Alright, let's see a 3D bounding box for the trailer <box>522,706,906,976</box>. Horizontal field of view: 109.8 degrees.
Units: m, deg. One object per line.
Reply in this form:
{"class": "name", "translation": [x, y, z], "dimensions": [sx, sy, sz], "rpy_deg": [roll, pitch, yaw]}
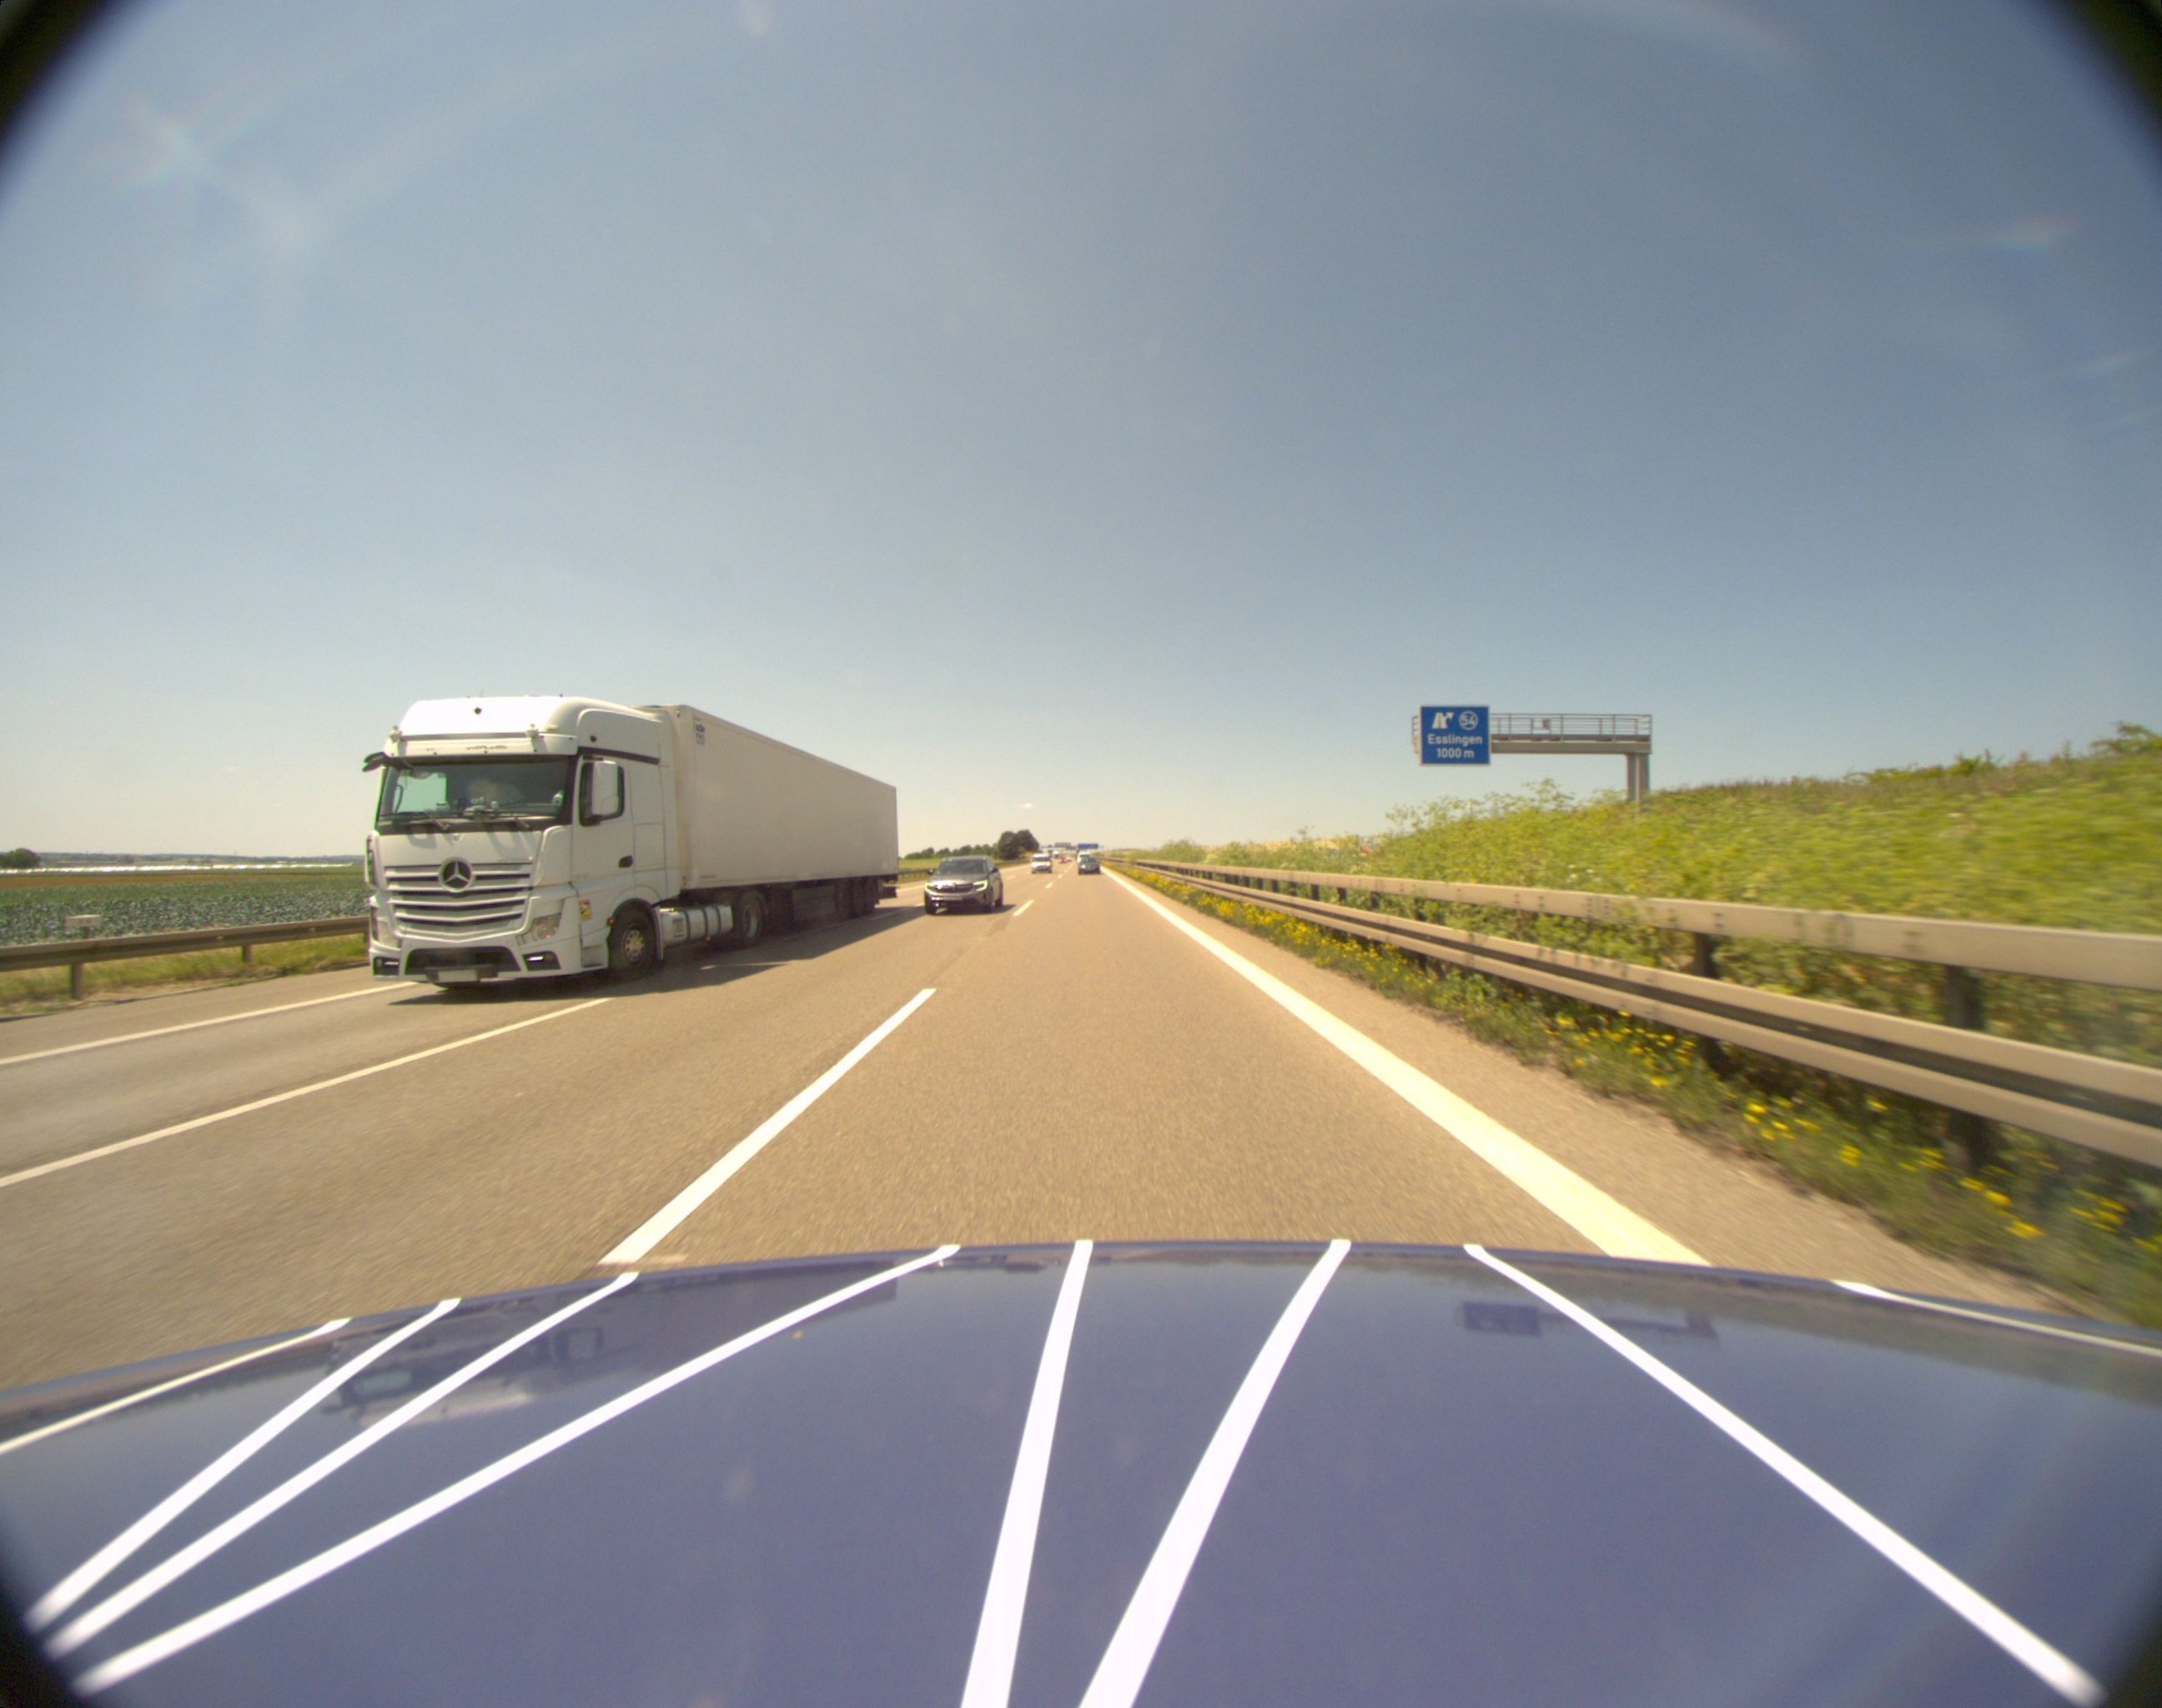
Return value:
{"class": "trailer", "translation": [-7.360, -0.243, 18.752], "dimensions": [2.875, 4.195, 13.293], "rpy_deg": [-2, 0, 0]}

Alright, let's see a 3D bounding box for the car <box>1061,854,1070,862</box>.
{"class": "car", "translation": [-3.159, 0.824, 156.309], "dimensions": [1.723, 1.514, 3.581], "rpy_deg": [-2, 0, 1]}

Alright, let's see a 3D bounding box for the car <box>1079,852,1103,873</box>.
{"class": "car", "translation": [0.794, 0.702, 62.439], "dimensions": [1.715, 1.586, 4.546], "rpy_deg": [-3, 0, -2]}

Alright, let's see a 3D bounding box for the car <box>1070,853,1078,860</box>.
{"class": "car", "translation": [-1.705, 0.638, 190.032], "dimensions": [1.724, 1.514, 3.581], "rpy_deg": [-2, 0, -2]}

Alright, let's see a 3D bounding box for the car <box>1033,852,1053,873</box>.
{"class": "car", "translation": [-3.607, 0.788, 72.110], "dimensions": [1.812, 1.836, 5.311], "rpy_deg": [-1, 0, -2]}

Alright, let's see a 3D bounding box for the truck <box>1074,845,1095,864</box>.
{"class": "truck", "translation": [0.401, 0.062, 101.164], "dimensions": [2.334, 2.378, 6.685], "rpy_deg": [-2, 0, -2]}

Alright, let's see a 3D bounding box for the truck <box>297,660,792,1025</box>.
{"class": "truck", "translation": [-7.404, -0.147, 12.105], "dimensions": [2.870, 4.067, 6.878], "rpy_deg": [-2, 1, -1]}

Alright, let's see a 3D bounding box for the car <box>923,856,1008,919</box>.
{"class": "car", "translation": [-3.324, 0.903, 22.675], "dimensions": [1.856, 1.639, 4.644], "rpy_deg": [-1, 0, -1]}
